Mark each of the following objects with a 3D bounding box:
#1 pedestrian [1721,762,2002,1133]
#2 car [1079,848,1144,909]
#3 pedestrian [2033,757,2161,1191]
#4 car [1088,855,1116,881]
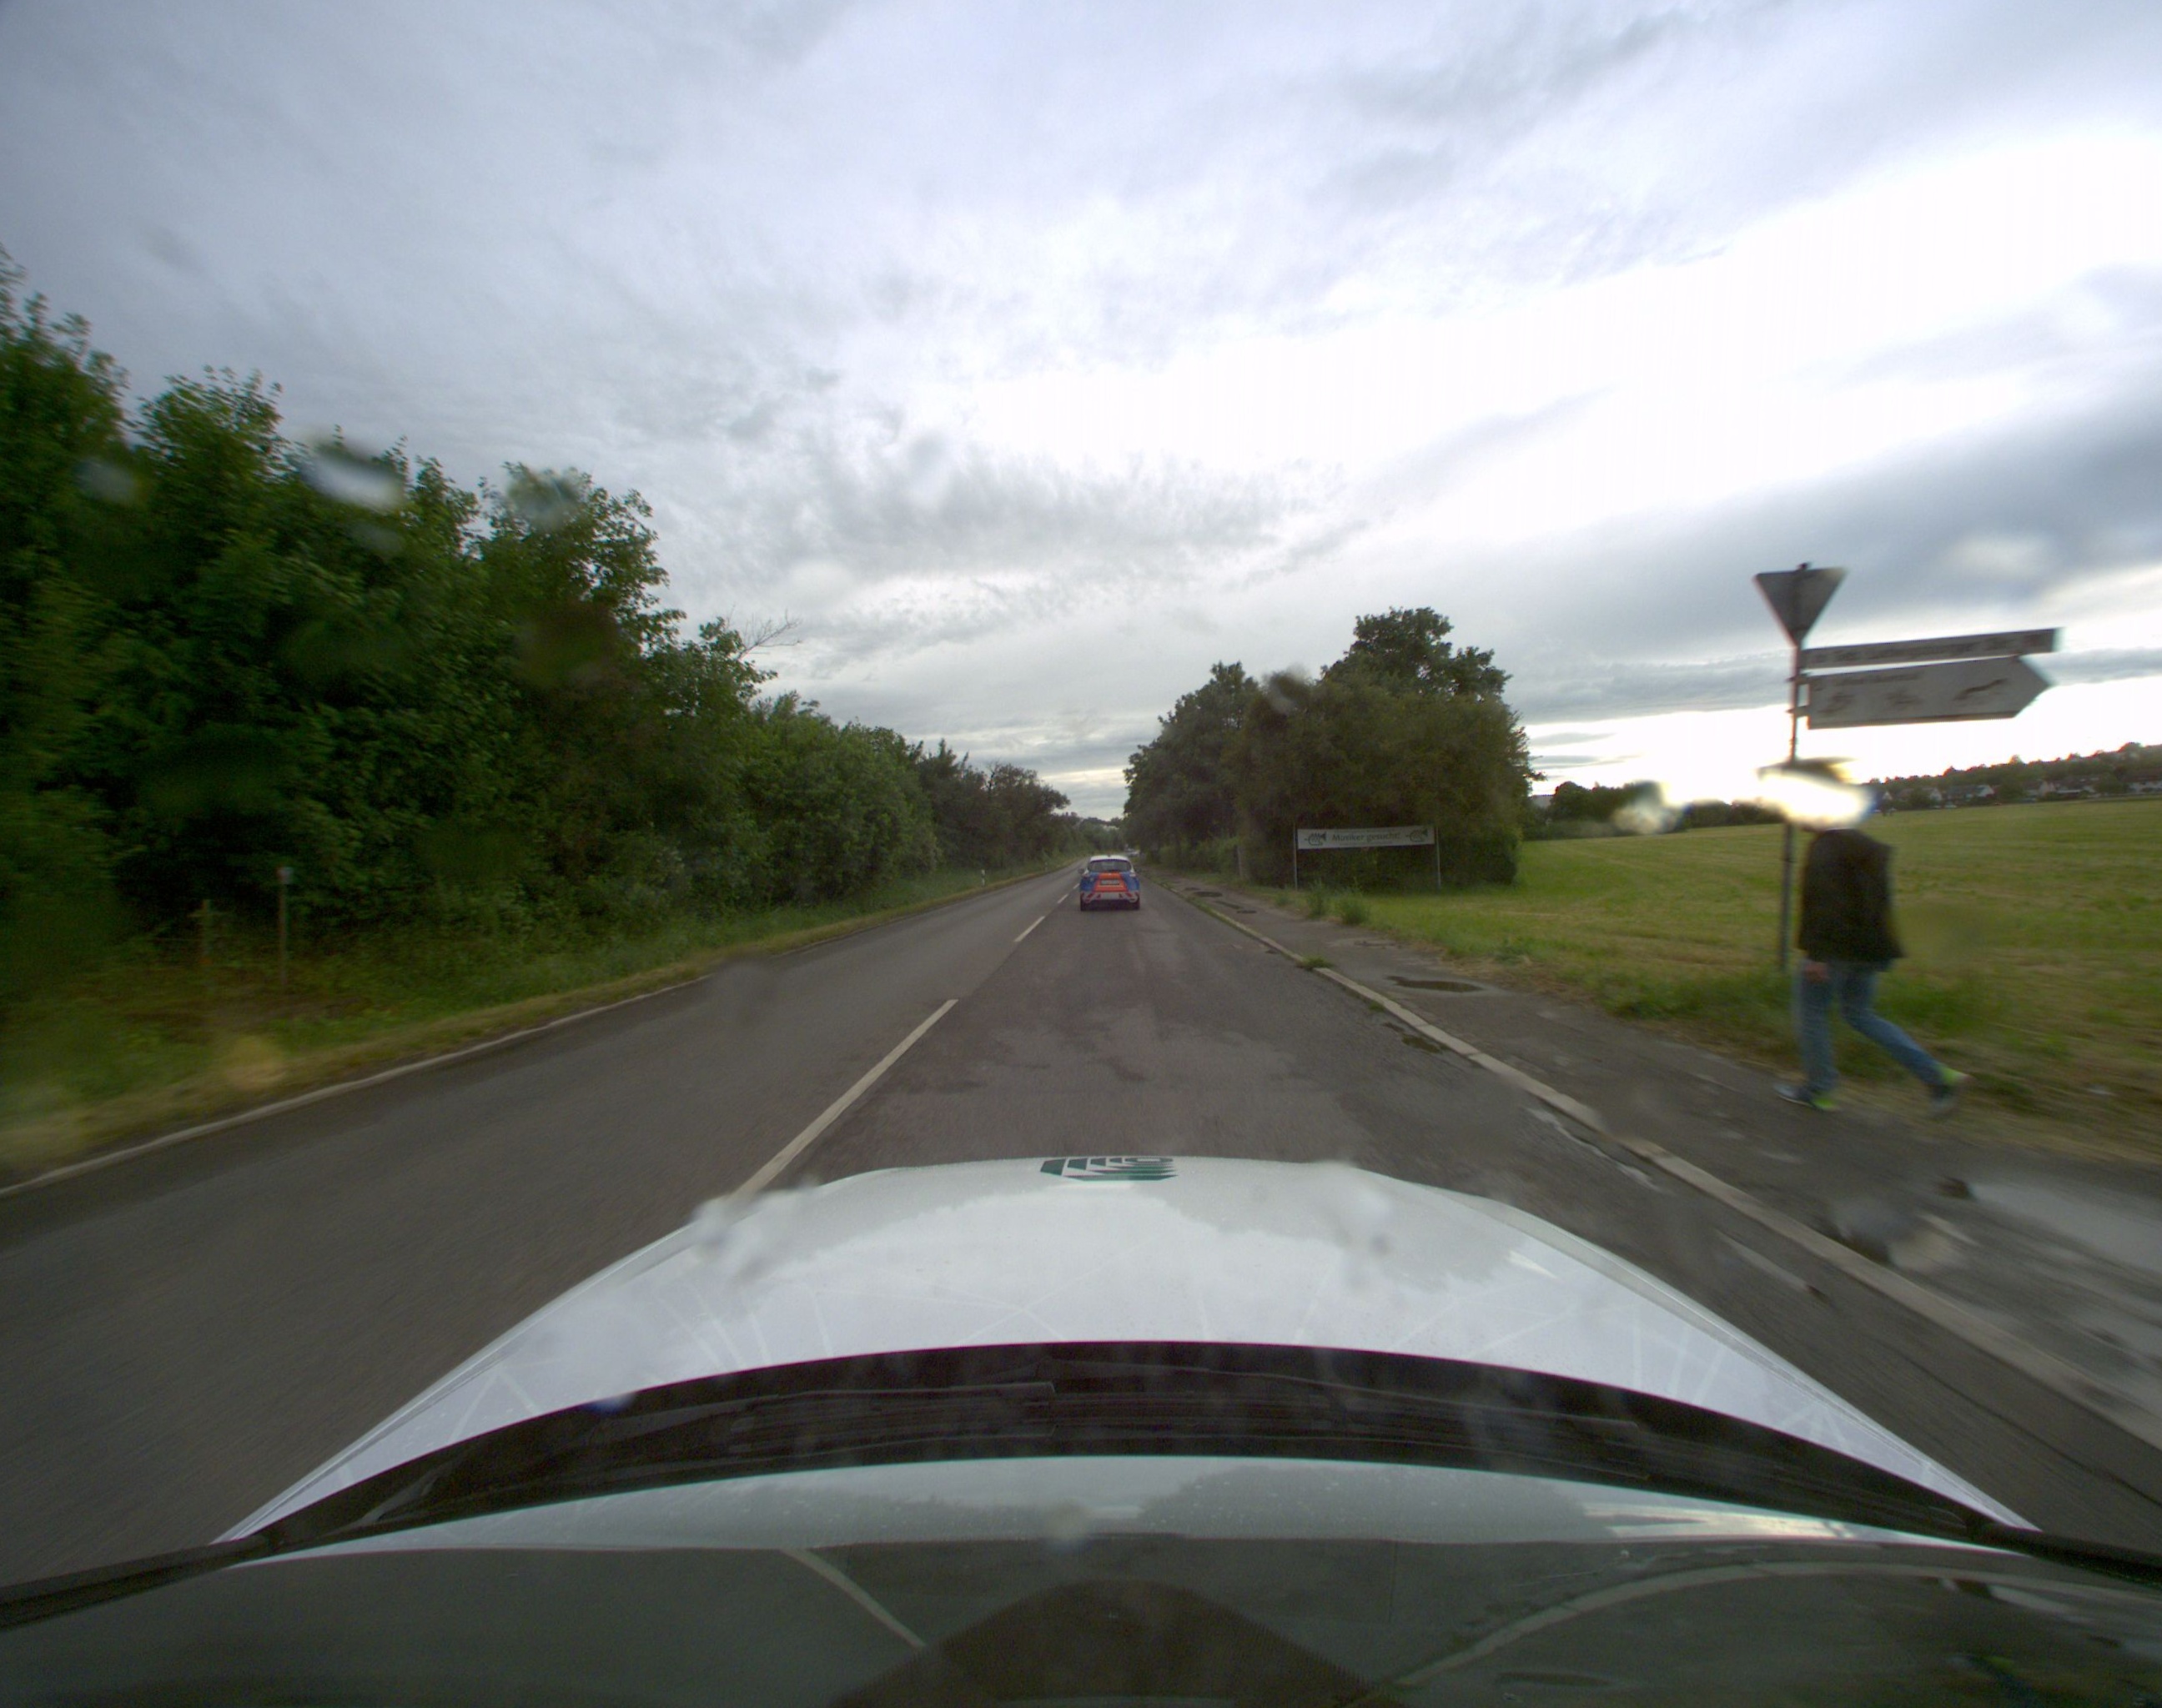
[{"bbox_3d":[4.221,0.468,4.480,0.690,1.827,0.801,-3,-1,2],"label":"pedestrian"},{"bbox_3d":[0.900,0.691,24.367,1.799,1.668,3.857,0,0,2],"label":"car"},{"bbox_3d":[4.727,0.482,3.340,0.658,1.778,0.760,-3,-1,2],"label":"pedestrian"},{"bbox_3d":[1.340,0.893,52.053,1.687,1.595,3.857,0,0,2],"label":"car"}]
